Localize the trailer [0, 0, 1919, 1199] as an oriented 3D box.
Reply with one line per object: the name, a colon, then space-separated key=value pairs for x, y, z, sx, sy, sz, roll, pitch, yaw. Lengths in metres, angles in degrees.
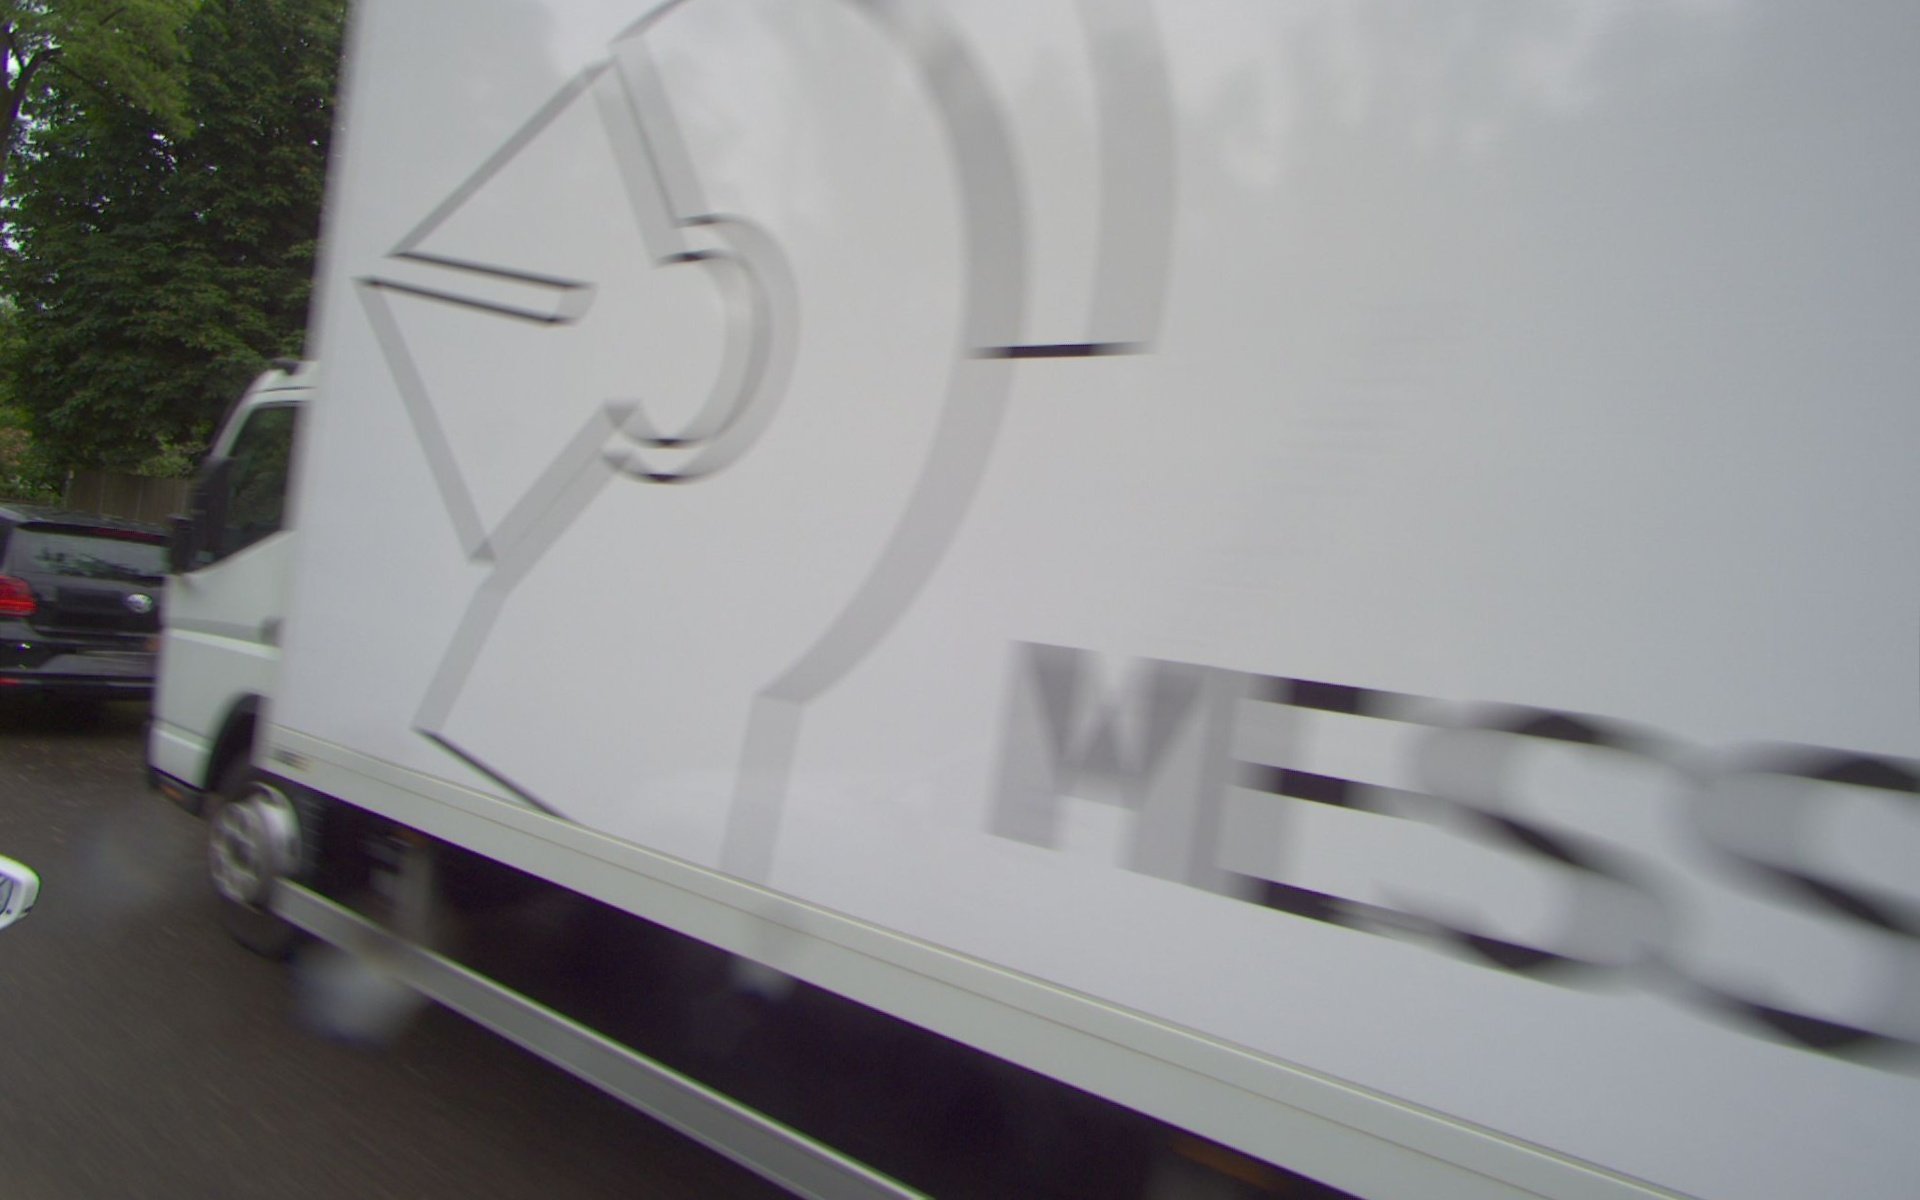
trailer: x=0.971 y=-0.130 z=2.609 sx=8.110 sy=3.548 sz=2.740 roll=7 pitch=-2 yaw=32

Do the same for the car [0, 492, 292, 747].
car: x=-6.899 y=-0.018 z=7.446 sx=3.934 sy=1.481 sz=1.644 roll=7 pitch=-2 yaw=32
